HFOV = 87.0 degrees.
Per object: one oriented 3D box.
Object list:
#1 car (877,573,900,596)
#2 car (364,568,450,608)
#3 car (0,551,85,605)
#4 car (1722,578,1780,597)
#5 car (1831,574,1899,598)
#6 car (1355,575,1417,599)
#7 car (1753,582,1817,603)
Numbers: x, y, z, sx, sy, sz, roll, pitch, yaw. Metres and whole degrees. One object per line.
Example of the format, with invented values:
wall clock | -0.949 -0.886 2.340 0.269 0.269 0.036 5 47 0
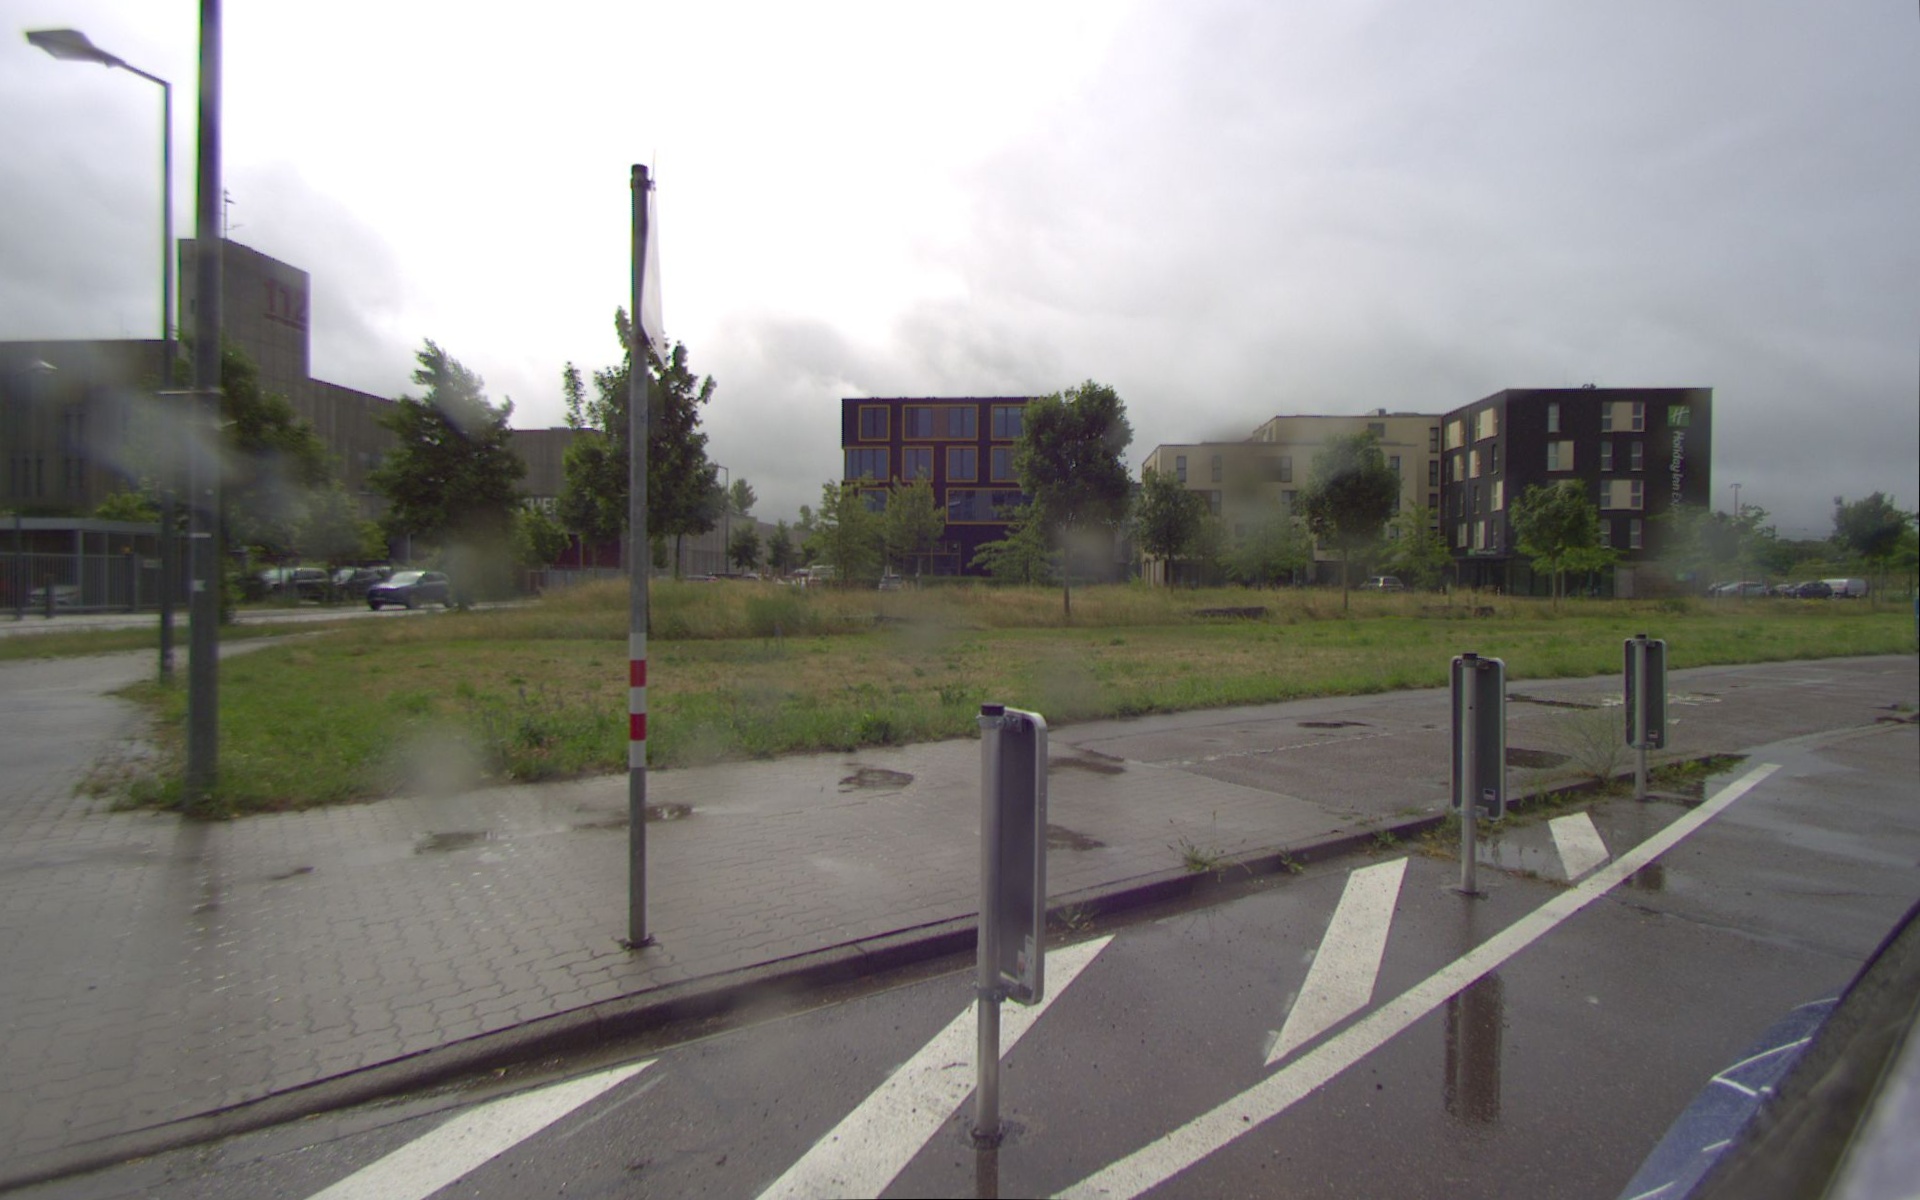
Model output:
car | -5.116 -1.123 72.886 1.616 1.602 3.671 0 1 -3
car | -23.518 -0.512 43.168 1.571 1.631 3.597 0 1 4
car | -37.151 -0.866 39.747 1.964 2.039 3.996 0 1 4
car | 68.716 -1.080 87.996 3.593 1.631 1.594 0 1 12
car | 79.321 -1.205 88.772 3.933 2.039 1.995 0 1 9
car | 29.123 -0.874 69.205 3.591 1.603 1.652 0 1 -14
car | 66.135 -0.600 81.173 3.598 1.682 1.642 1 1 16
